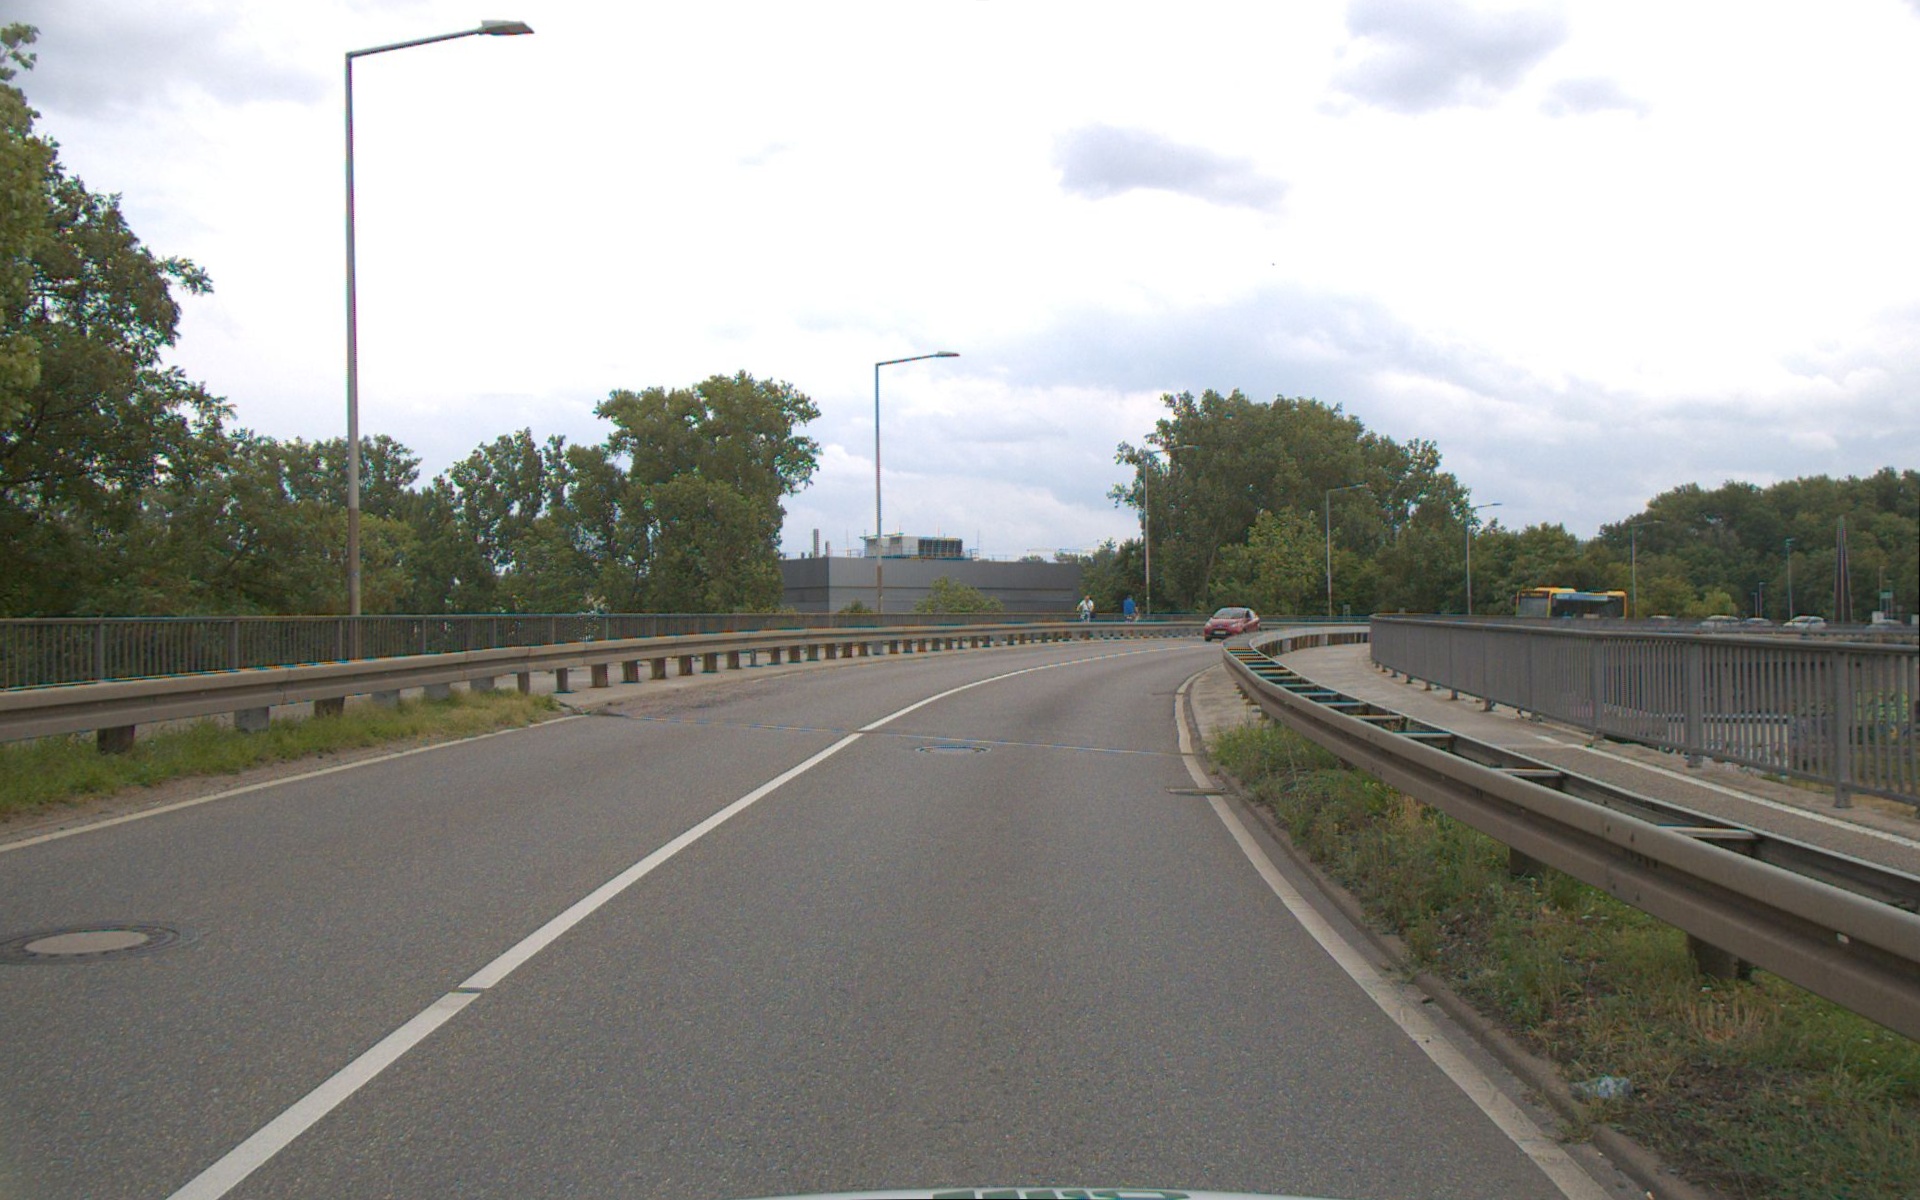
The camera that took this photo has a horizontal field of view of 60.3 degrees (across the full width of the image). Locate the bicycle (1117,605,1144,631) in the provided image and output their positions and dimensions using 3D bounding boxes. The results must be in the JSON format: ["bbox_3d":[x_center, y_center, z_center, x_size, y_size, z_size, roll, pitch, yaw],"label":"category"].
[{"bbox_3d":[7.206,0.761,69.826,0.483,1.063,1.807,1,0,29],"label":"bicycle"}]

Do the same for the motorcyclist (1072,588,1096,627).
[{"bbox_3d":[5.043,0.291,67.139,0.793,1.556,0.825,1,-1,18],"label":"motorcyclist"}]

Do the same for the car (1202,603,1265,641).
[{"bbox_3d":[11.662,0.935,70.371,1.723,1.518,3.998,1,0,23],"label":"car"}]

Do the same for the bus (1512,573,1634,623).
[{"bbox_3d":[42.856,-0.075,115.255,2.991,3.290,12.859,1,-1,44],"label":"bus"}]

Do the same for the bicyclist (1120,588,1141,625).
[{"bbox_3d":[7.207,0.287,69.880,0.599,1.567,0.755,1,-1,34],"label":"bicyclist"}]

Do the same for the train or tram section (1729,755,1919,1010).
[{"bbox_3d":[26.276,7.142,40.330,13.357,5.672,3.644,1,0,31],"label":"train or tram section"}]

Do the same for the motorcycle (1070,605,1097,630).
[{"bbox_3d":[5.010,0.715,67.032,0.613,0.980,1.840,1,0,19],"label":"motorcycle"}]
